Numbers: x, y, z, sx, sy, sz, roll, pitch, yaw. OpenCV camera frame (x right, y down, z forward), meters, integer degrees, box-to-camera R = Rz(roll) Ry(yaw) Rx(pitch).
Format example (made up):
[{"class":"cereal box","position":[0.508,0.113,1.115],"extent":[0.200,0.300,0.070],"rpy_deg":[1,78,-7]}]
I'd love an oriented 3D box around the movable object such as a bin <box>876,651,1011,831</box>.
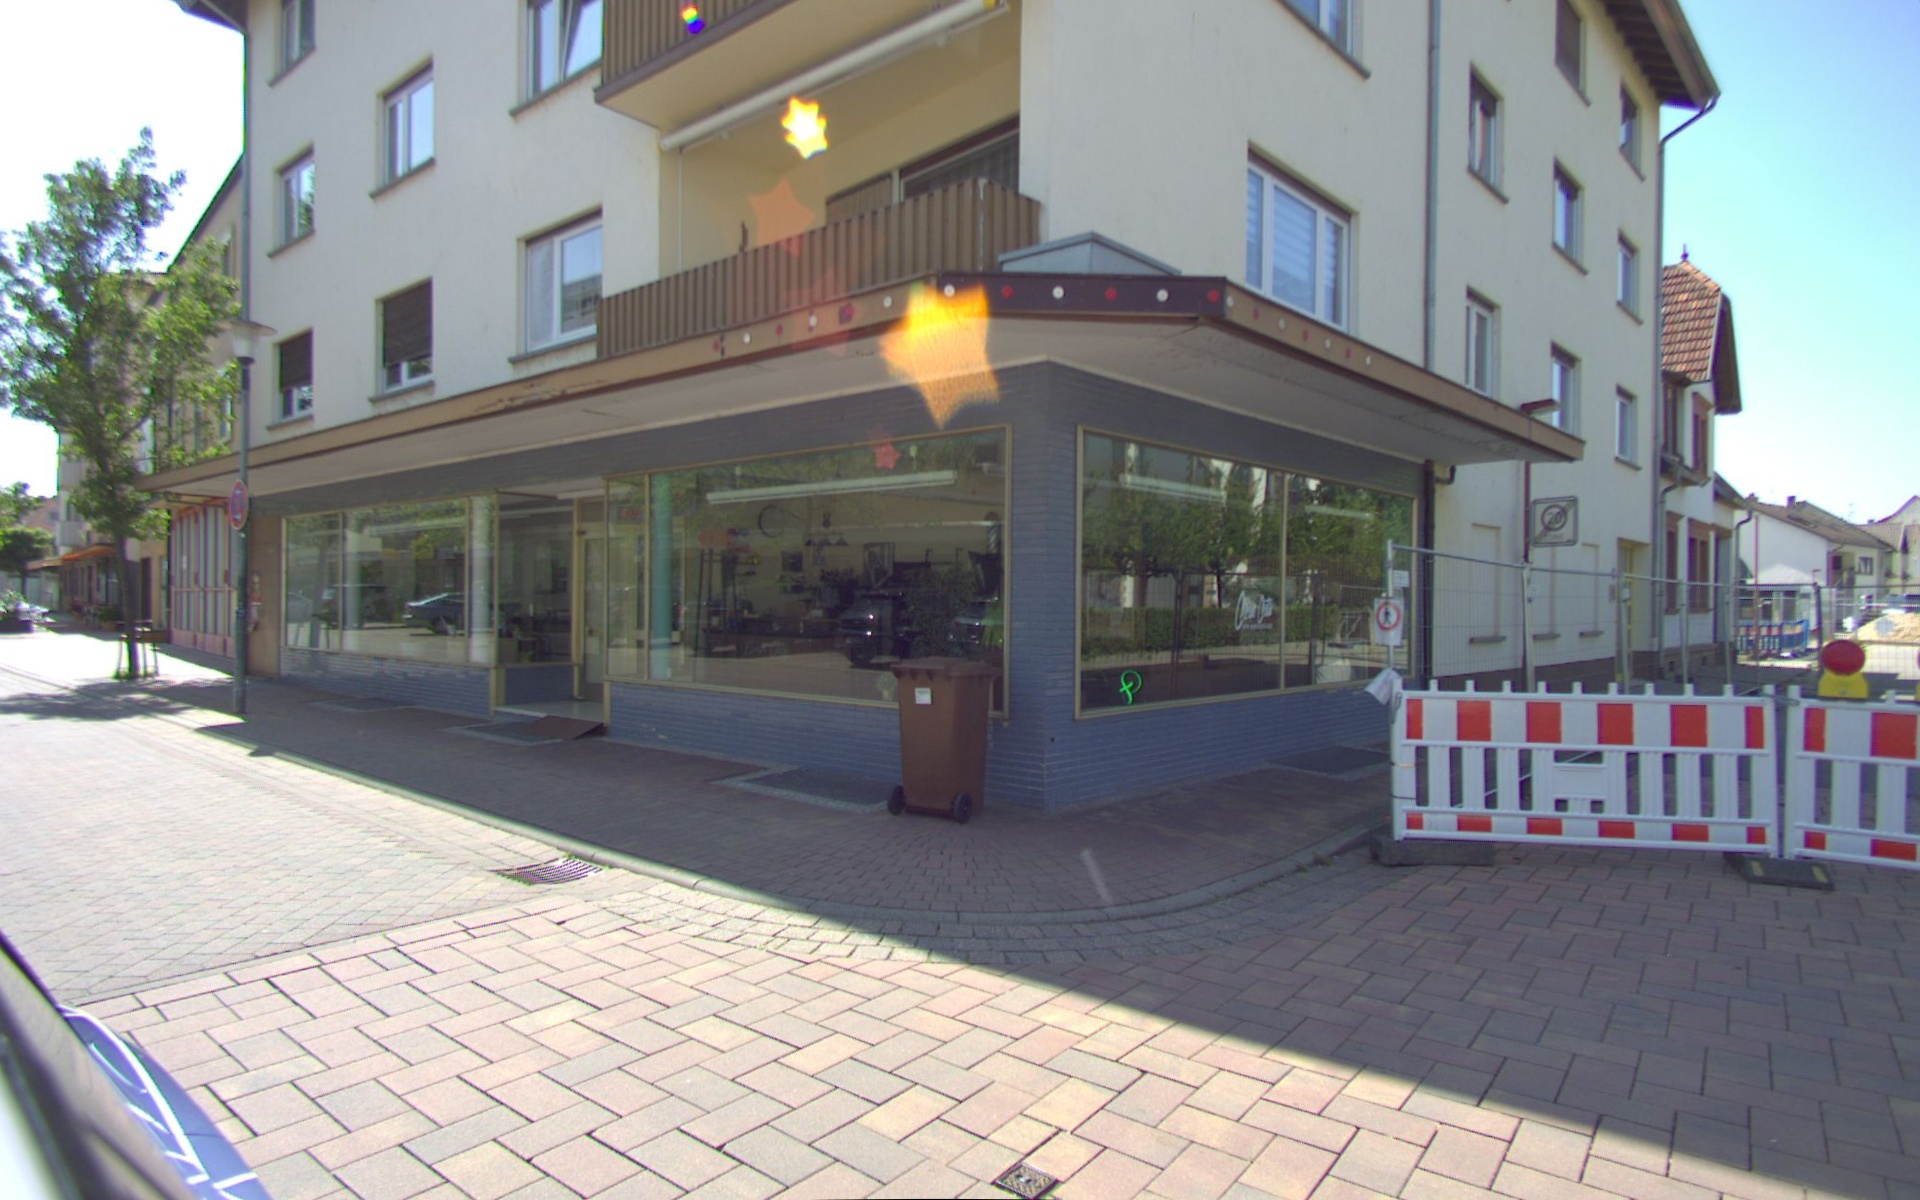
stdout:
[{"class":"movable object such as a bin","position":[-0.106,0.910,6.815],"extent":[0.662,1.078,0.650],"rpy_deg":[1,0,33]}]
